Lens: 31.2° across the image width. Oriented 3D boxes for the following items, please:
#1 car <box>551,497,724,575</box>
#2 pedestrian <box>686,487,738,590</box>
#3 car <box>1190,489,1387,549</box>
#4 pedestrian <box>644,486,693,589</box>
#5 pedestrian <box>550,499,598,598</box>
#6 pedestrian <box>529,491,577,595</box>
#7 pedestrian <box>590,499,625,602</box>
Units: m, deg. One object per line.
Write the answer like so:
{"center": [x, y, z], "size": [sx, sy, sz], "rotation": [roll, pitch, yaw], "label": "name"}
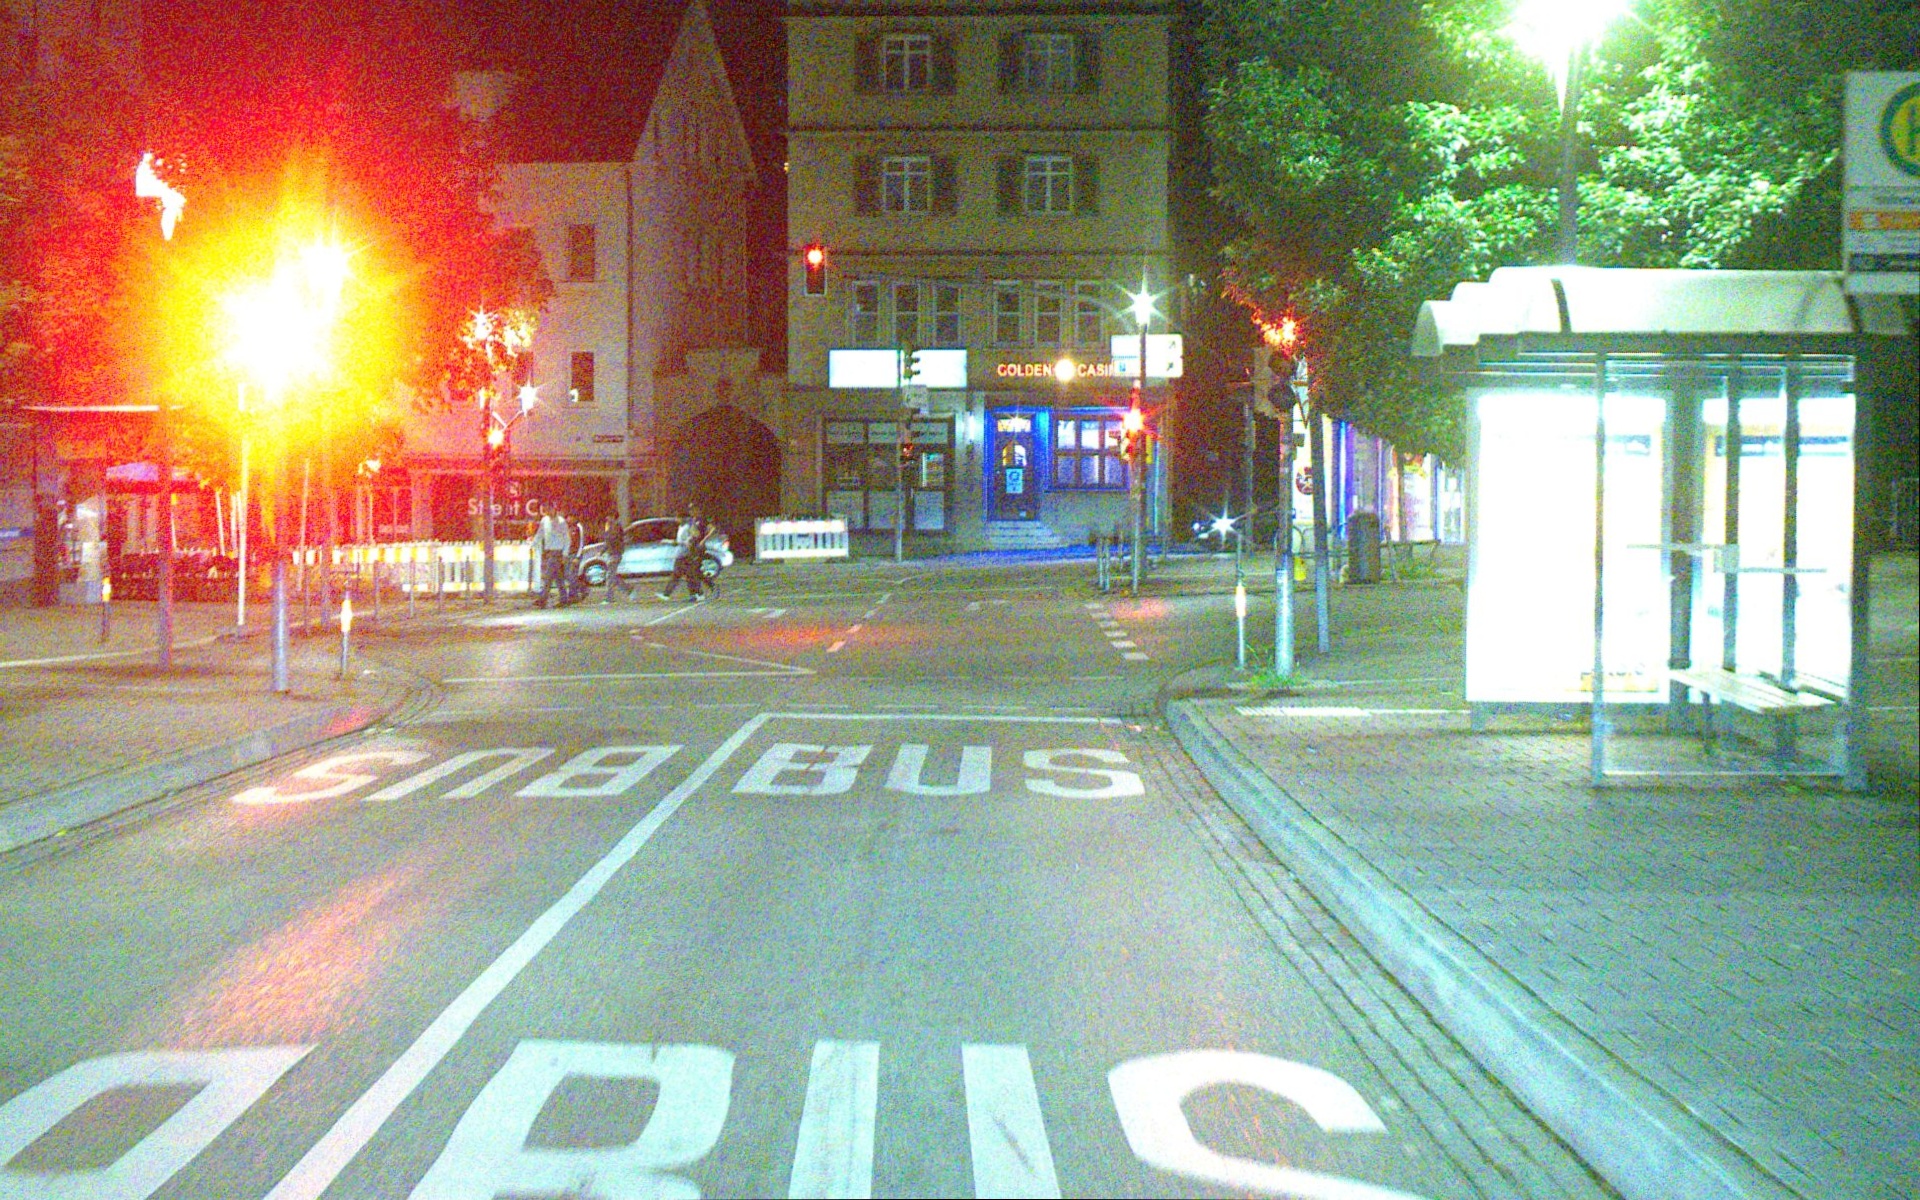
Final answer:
{"center": [-7.252, -1.417, 77.110], "size": [3.751, 1.612, 1.835], "rotation": [1, 0, -8], "label": "car"}
{"center": [-4.359, -1.072, 60.394], "size": [0.734, 1.789, 0.718], "rotation": [1, 0, -16], "label": "pedestrian"}
{"center": [7.814, -1.921, 82.001], "size": [4.417, 1.293, 1.641], "rotation": [1, 0, -5], "label": "car"}
{"center": [-5.163, -1.102, 60.876], "size": [0.567, 1.789, 0.718], "rotation": [1, 0, -32], "label": "pedestrian"}
{"center": [-7.052, -0.940, 62.853], "size": [0.716, 1.789, 0.569], "rotation": [1, 0, 8], "label": "pedestrian"}
{"center": [-7.070, -0.985, 59.722], "size": [0.716, 1.789, 0.569], "rotation": [1, 0, 1], "label": "pedestrian"}
{"center": [-6.253, -0.870, 60.915], "size": [0.567, 1.789, 0.718], "rotation": [1, 0, -6], "label": "pedestrian"}
